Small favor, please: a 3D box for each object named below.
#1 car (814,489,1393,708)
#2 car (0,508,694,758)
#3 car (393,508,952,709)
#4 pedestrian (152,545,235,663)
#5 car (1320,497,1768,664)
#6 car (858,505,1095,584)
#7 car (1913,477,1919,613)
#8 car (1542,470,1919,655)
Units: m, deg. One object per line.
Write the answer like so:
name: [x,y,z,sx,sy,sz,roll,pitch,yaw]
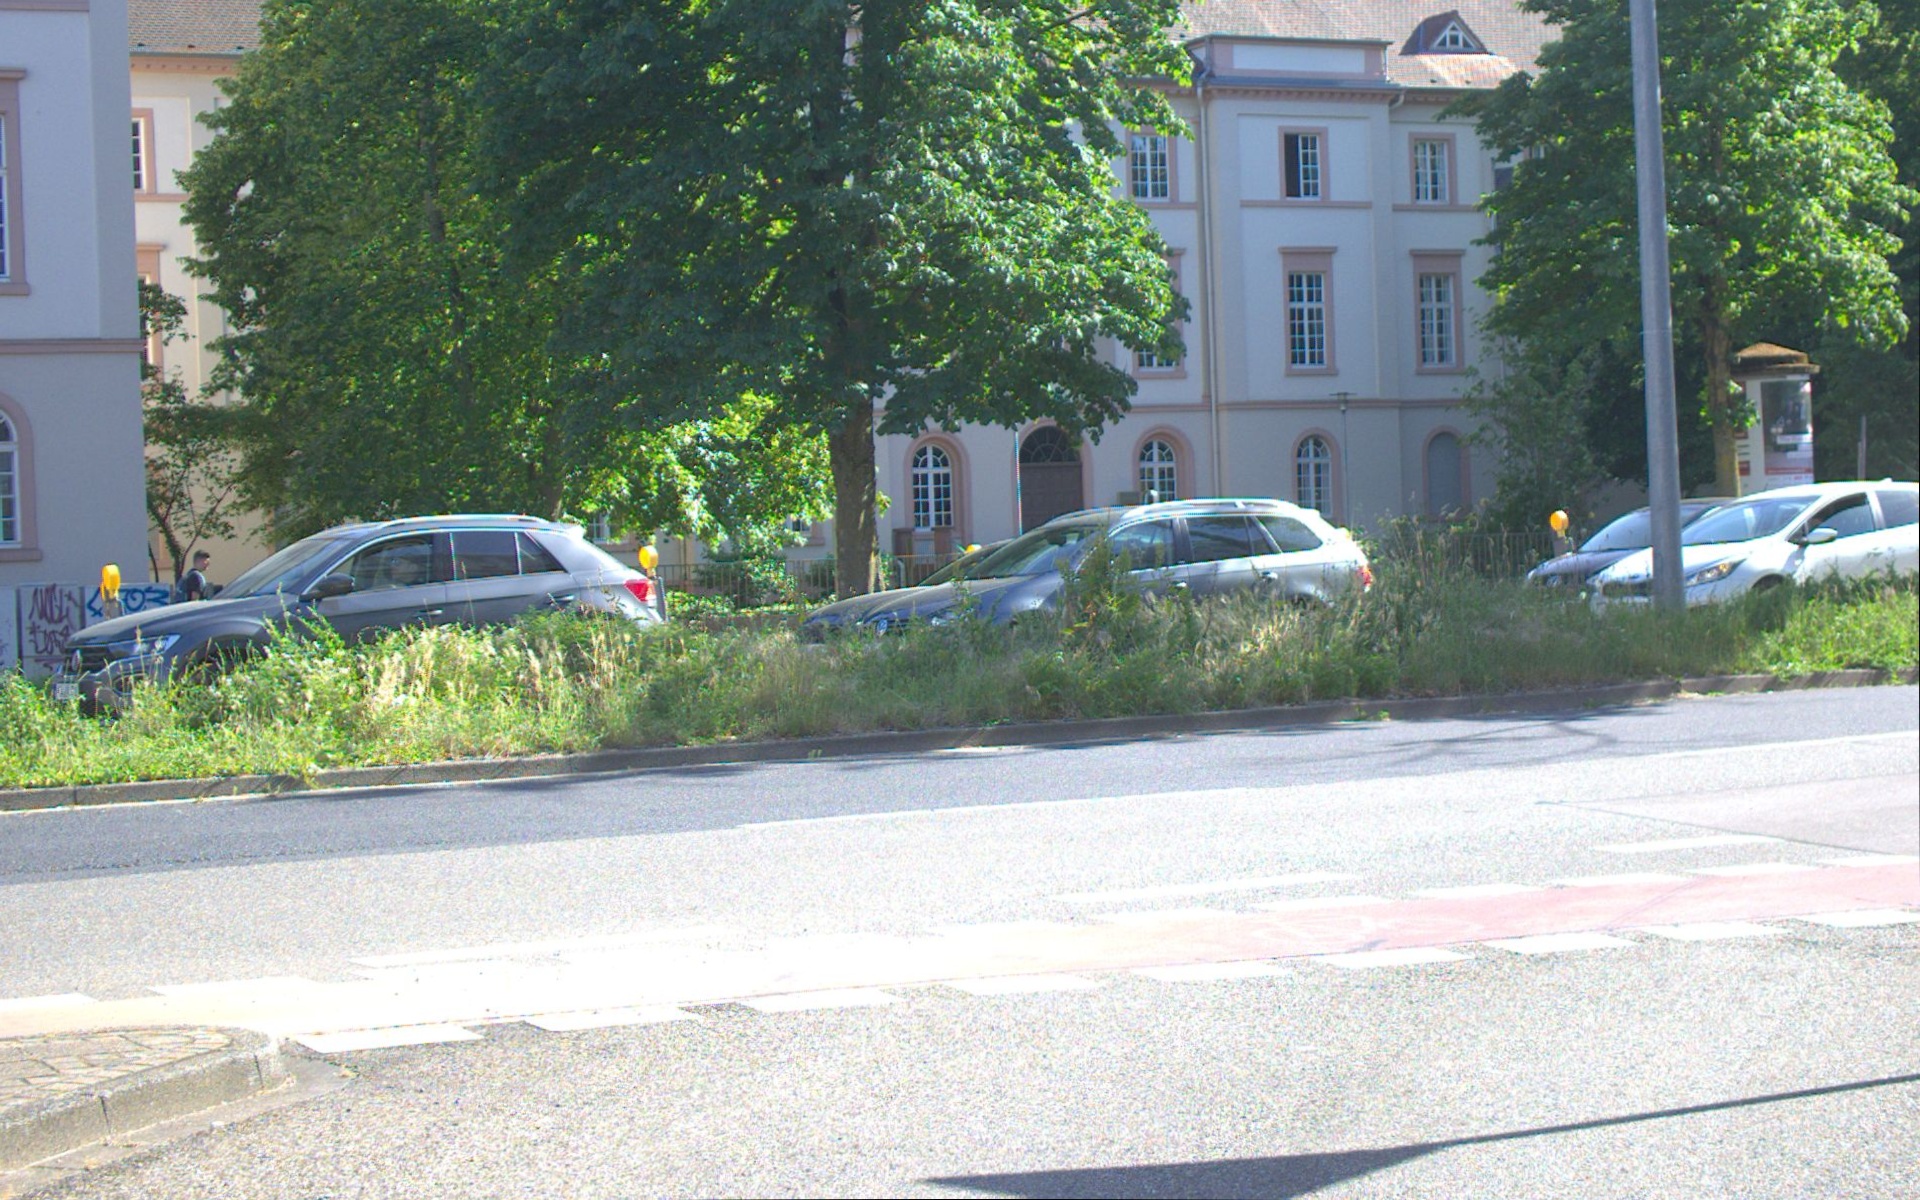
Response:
car: [1.188,-0.064,27.491,4.349,1.513,1.801,-3,3,-33]
car: [-4.190,0.161,23.728,4.333,1.514,1.801,-2,2,-33]
car: [-2.388,0.020,28.987,4.333,1.514,1.801,-2,2,-33]
pedestrian: [-10.207,0.053,45.756,0.779,1.530,0.742,-3,1,-38]
car: [5.868,-0.230,34.372,4.333,1.514,1.801,-2,2,-33]
car: [0.359,-1.128,70.548,4.670,1.487,1.647,1,0,-32]
car: [12.831,-0.694,38.669,4.067,1.514,1.801,-3,2,-33]
car: [7.494,-0.377,31.237,4.192,1.514,1.801,-3,1,-33]
